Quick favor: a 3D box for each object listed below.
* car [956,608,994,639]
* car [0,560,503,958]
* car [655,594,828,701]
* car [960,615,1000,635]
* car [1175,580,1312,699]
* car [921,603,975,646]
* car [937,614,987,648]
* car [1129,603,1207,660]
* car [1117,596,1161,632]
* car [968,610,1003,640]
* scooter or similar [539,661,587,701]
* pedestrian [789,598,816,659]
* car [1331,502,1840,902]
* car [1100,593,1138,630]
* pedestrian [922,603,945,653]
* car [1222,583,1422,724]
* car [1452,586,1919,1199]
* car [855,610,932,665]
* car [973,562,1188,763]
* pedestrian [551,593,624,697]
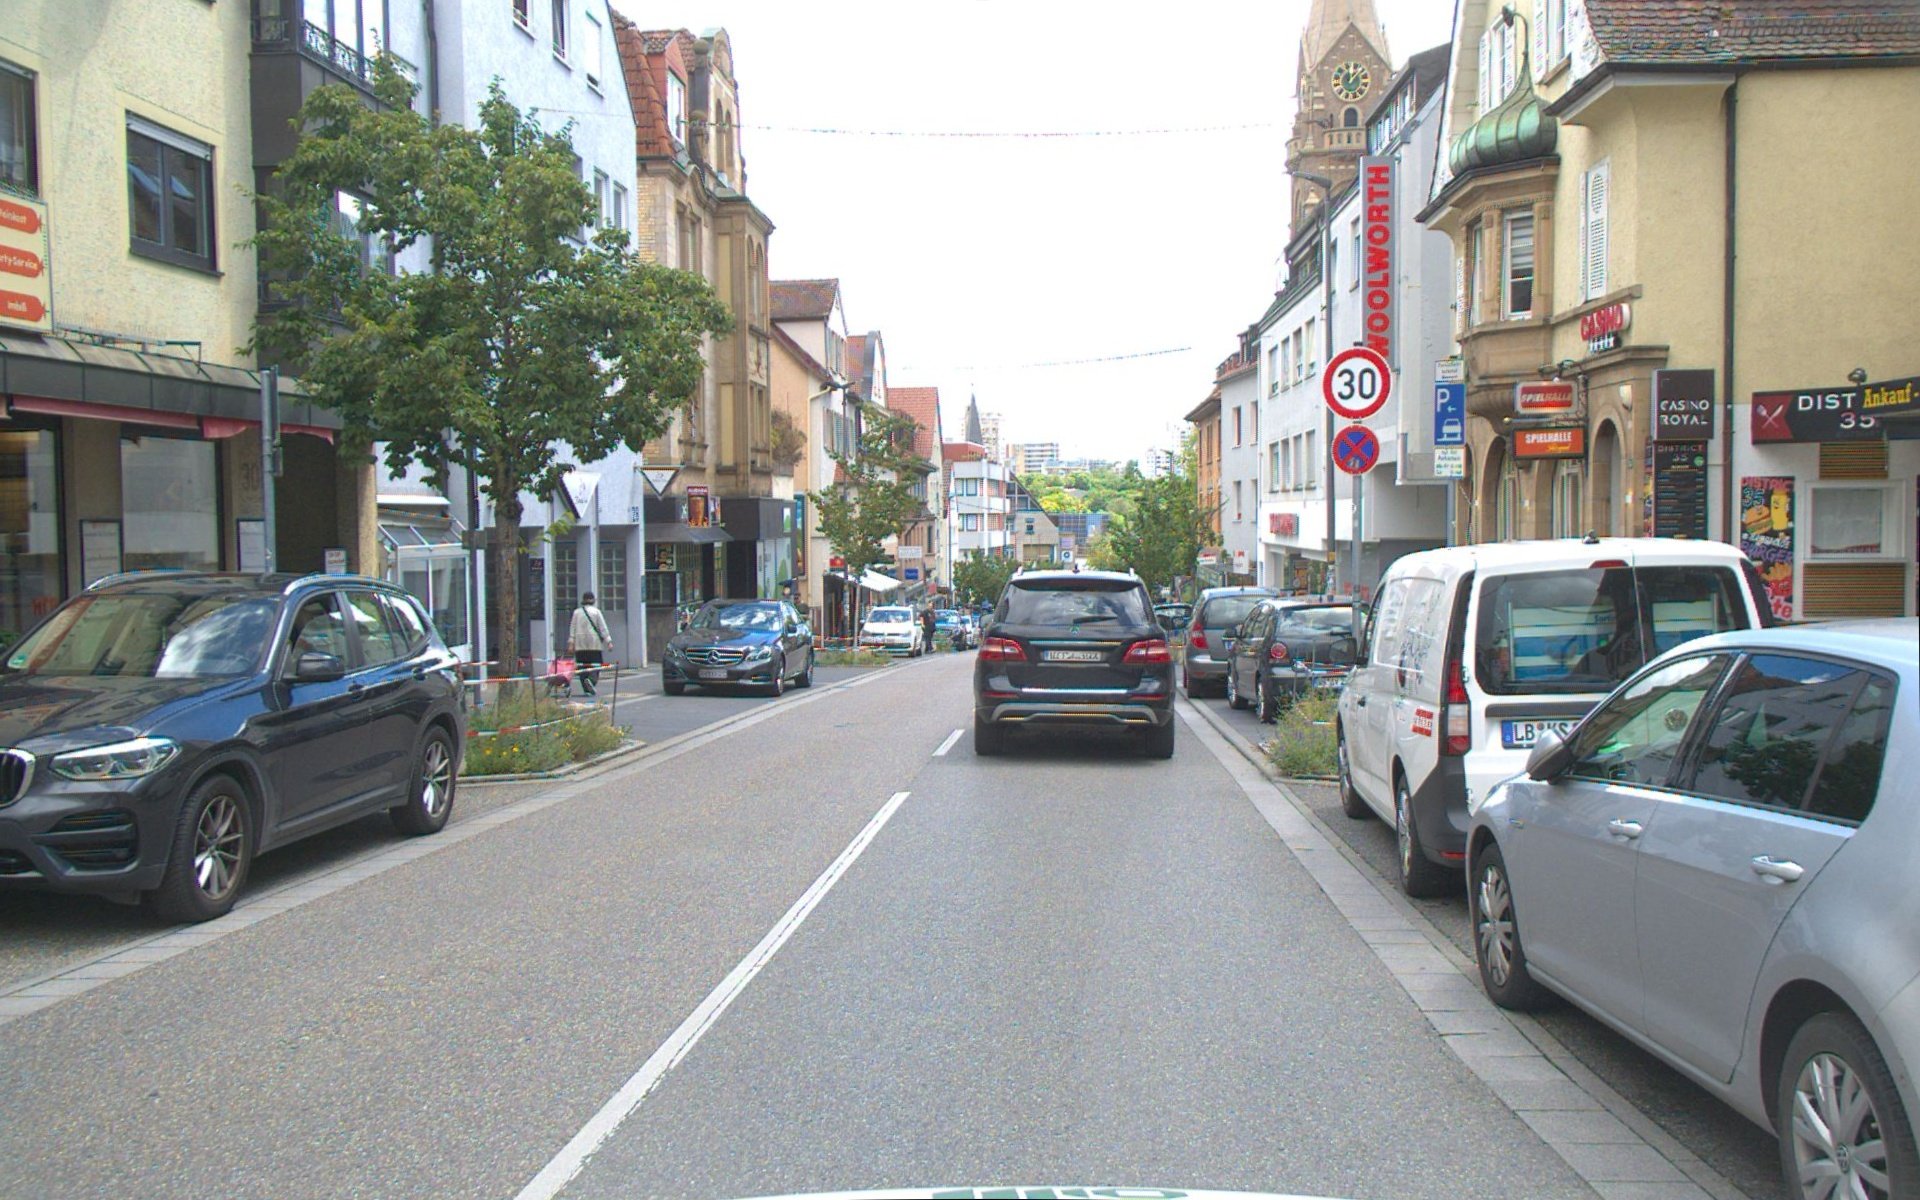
[{"bbox_3d":[0.824,1.223,88.020,1.887,1.523,4.262,2,0,1],"label":"car"},{"bbox_3d":[-4.401,0.668,9.552,1.964,1.723,4.609,1,0,4],"label":"car"},{"bbox_3d":[-3.425,0.715,26.850,1.886,1.518,4.844,2,0,3],"label":"car"},{"bbox_3d":[1.967,2.439,163.293,3.905,1.780,2.000,-3,-1,0],"label":"car"},{"bbox_3d":[4.299,0.575,25.594,1.711,1.636,3.802,-2,-1,5],"label":"car"},{"bbox_3d":[-0.456,1.009,66.729,1.886,1.650,4.641,1,-1,3],"label":"car"},{"bbox_3d":[0.101,1.393,74.490,1.886,1.455,4.264,0,-1,5],"label":"car"},{"bbox_3d":[6.122,0.971,49.047,1.713,1.524,3.799,-3,-2,-1],"label":"car"},{"bbox_3d":[8.203,0.635,76.202,1.712,1.491,4.076,-4,-1,3],"label":"car"},{"bbox_3d":[1.476,1.434,95.383,1.887,1.623,4.458,2,0,1],"label":"car"},{"bbox_3d":[-5.646,1.149,23.534,0.513,0.528,0.573,1,-1,3],"label":"scooter or similar"},{"bbox_3d":[-3.889,0.698,40.872,0.480,1.489,0.559,1,-1,13],"label":"pedestrian"},{"bbox_3d":[3.412,0.481,10.026,1.837,1.831,4.736,-1,0,7],"label":"car"},{"bbox_3d":[8.956,0.646,93.611,1.897,1.924,4.708,-3,-1,3],"label":"car"},{"bbox_3d":[-0.908,0.952,56.289,0.722,1.701,0.863,0,-1,1],"label":"pedestrian"},{"bbox_3d":[4.426,0.630,20.773,1.712,1.535,3.875,-2,-1,2],"label":"car"},{"bbox_3d":[2.817,0.707,4.794,1.667,1.493,4.001,-1,0,2],"label":"car"},{"bbox_3d":[-1.946,1.093,49.524,1.886,1.538,4.263,1,0,3],"label":"car"},{"bbox_3d":[1.224,0.551,16.752,1.902,1.770,4.181,0,0,4],"label":"car"},{"bbox_3d":[-5.449,0.653,24.247,0.808,1.489,0.810,1,-1,3],"label":"pedestrian"}]
